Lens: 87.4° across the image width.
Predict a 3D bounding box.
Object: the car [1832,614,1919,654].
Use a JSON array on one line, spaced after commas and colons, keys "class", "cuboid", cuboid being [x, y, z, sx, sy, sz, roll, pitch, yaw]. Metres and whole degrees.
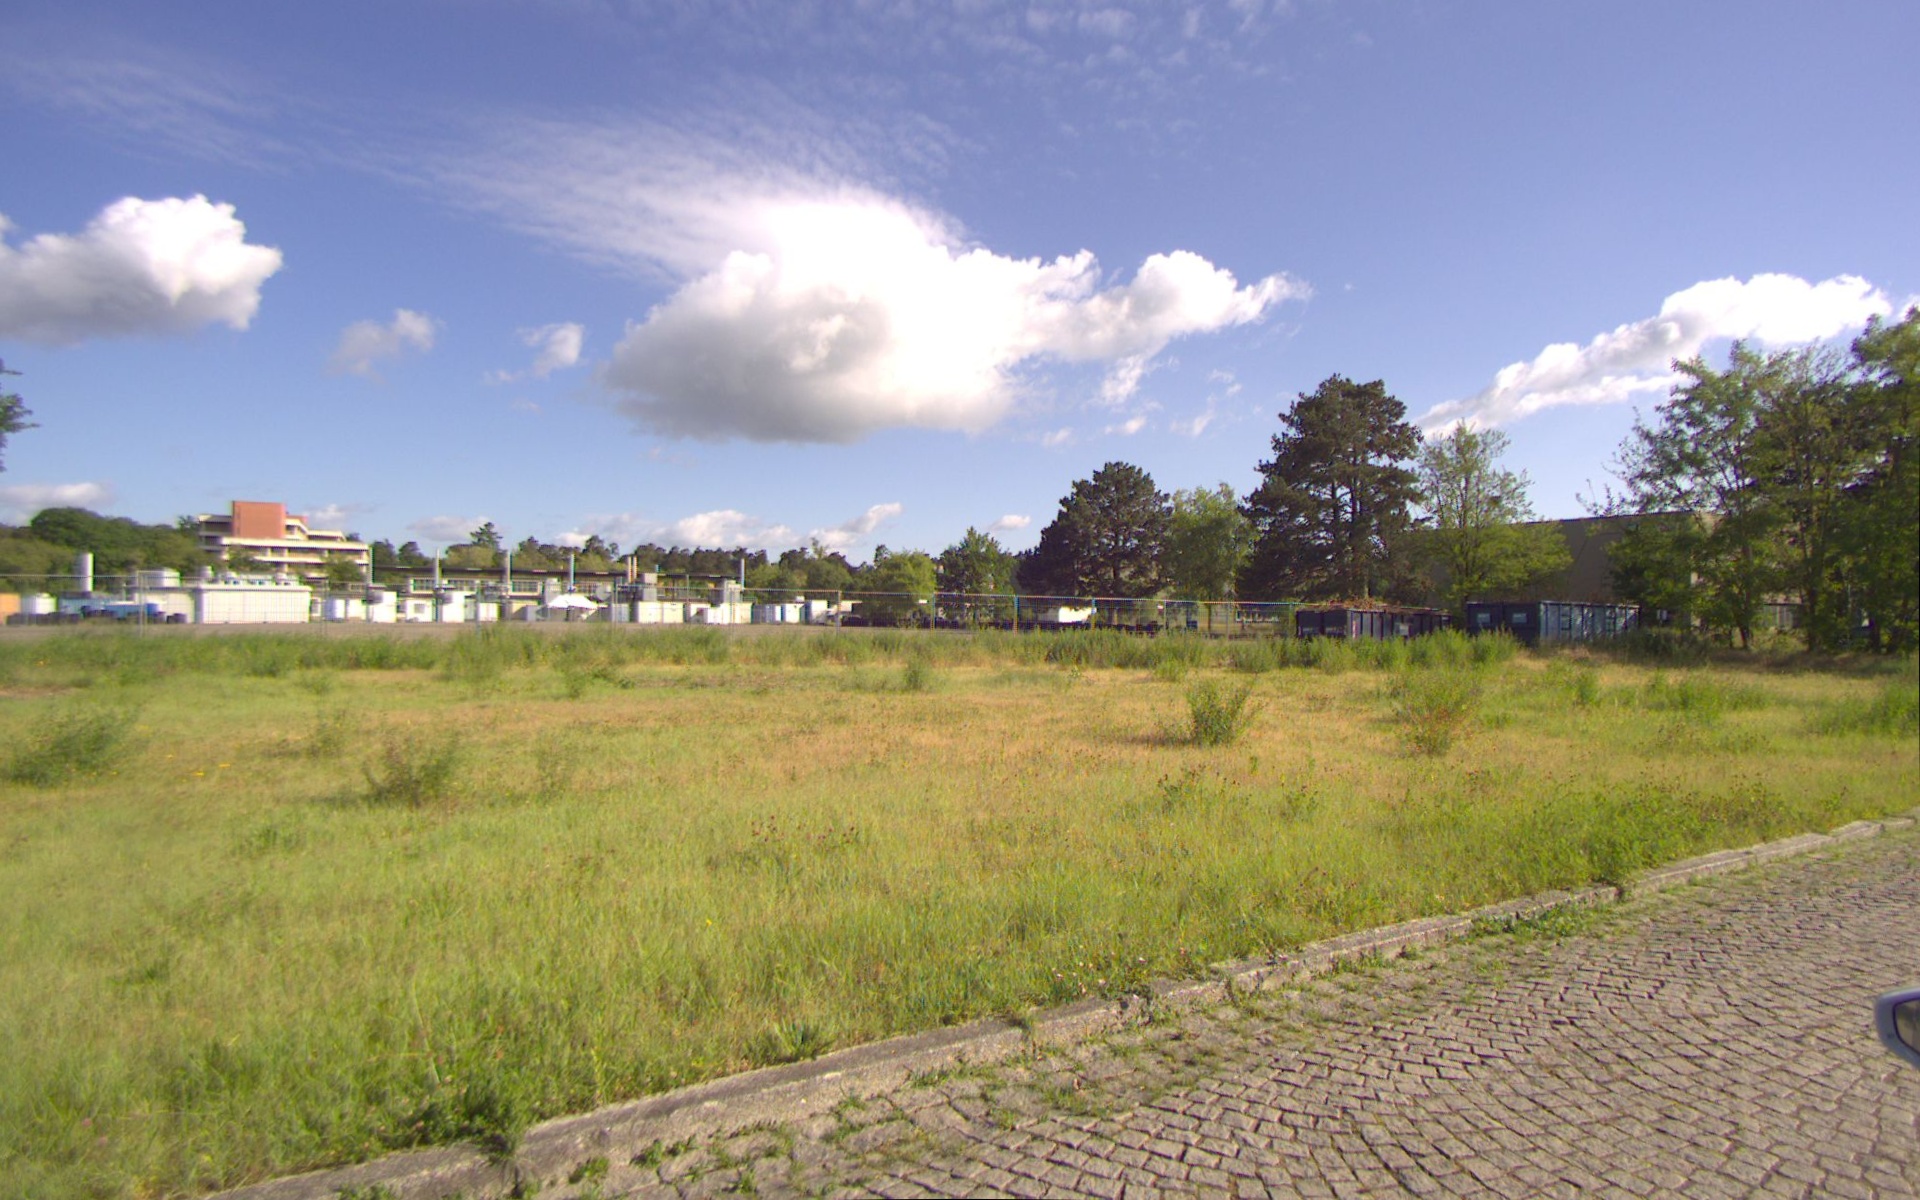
[{"class": "car", "cuboid": [39.660, 1.412, 42.254, 1.985, 1.630, 4.126, 1, -1, -29]}]
